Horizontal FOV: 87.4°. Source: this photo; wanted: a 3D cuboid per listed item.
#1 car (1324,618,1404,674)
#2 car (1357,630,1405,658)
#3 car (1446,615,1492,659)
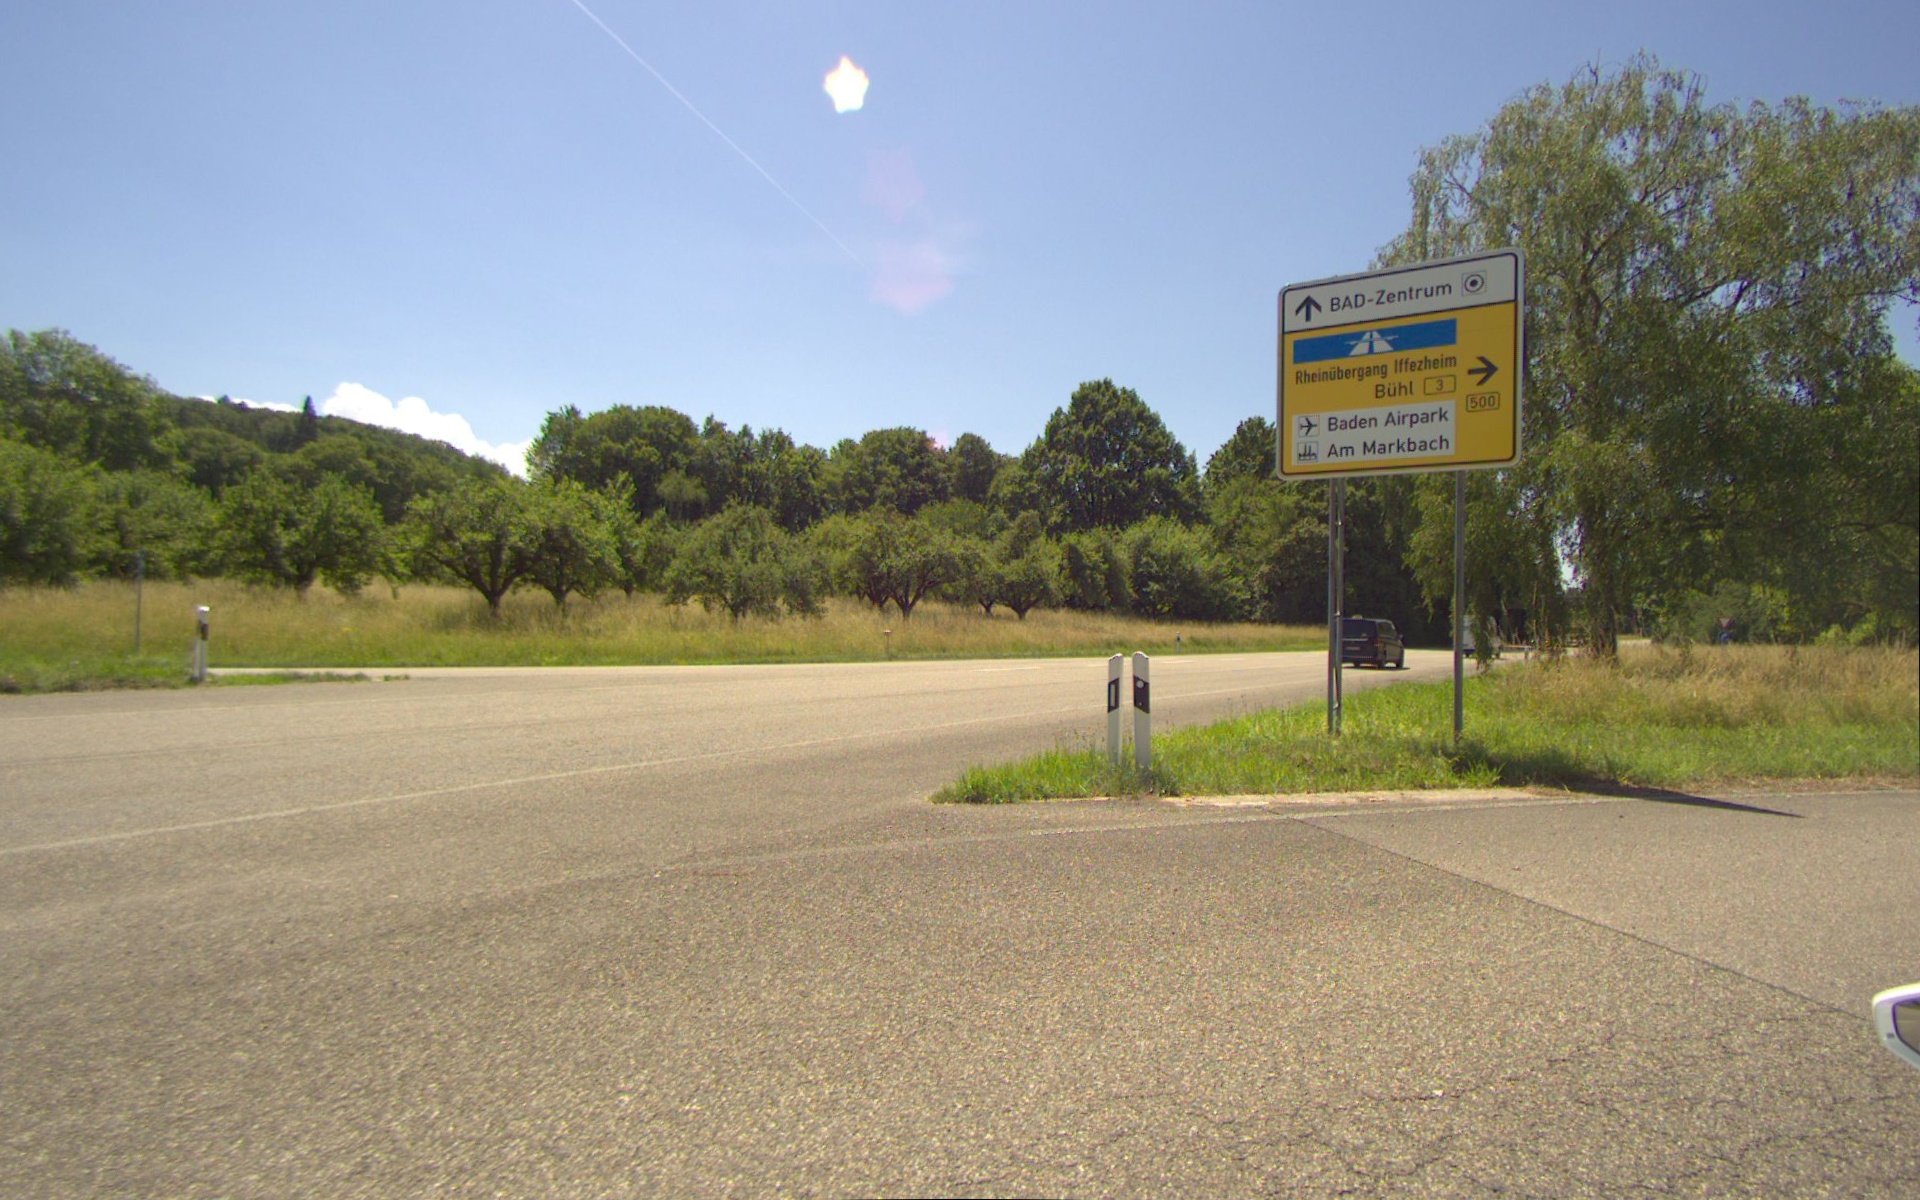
[{"bbox_3d":[15.596,1.746,38.679,1.967,1.973,4.077,2,0,34],"label":"car"},{"bbox_3d":[27.402,2.815,65.303,2.088,1.656,4.077,2,-1,34],"label":"car"},{"bbox_3d":[31.468,2.250,62.079,2.087,2.534,4.079,2,0,32],"label":"car"}]
